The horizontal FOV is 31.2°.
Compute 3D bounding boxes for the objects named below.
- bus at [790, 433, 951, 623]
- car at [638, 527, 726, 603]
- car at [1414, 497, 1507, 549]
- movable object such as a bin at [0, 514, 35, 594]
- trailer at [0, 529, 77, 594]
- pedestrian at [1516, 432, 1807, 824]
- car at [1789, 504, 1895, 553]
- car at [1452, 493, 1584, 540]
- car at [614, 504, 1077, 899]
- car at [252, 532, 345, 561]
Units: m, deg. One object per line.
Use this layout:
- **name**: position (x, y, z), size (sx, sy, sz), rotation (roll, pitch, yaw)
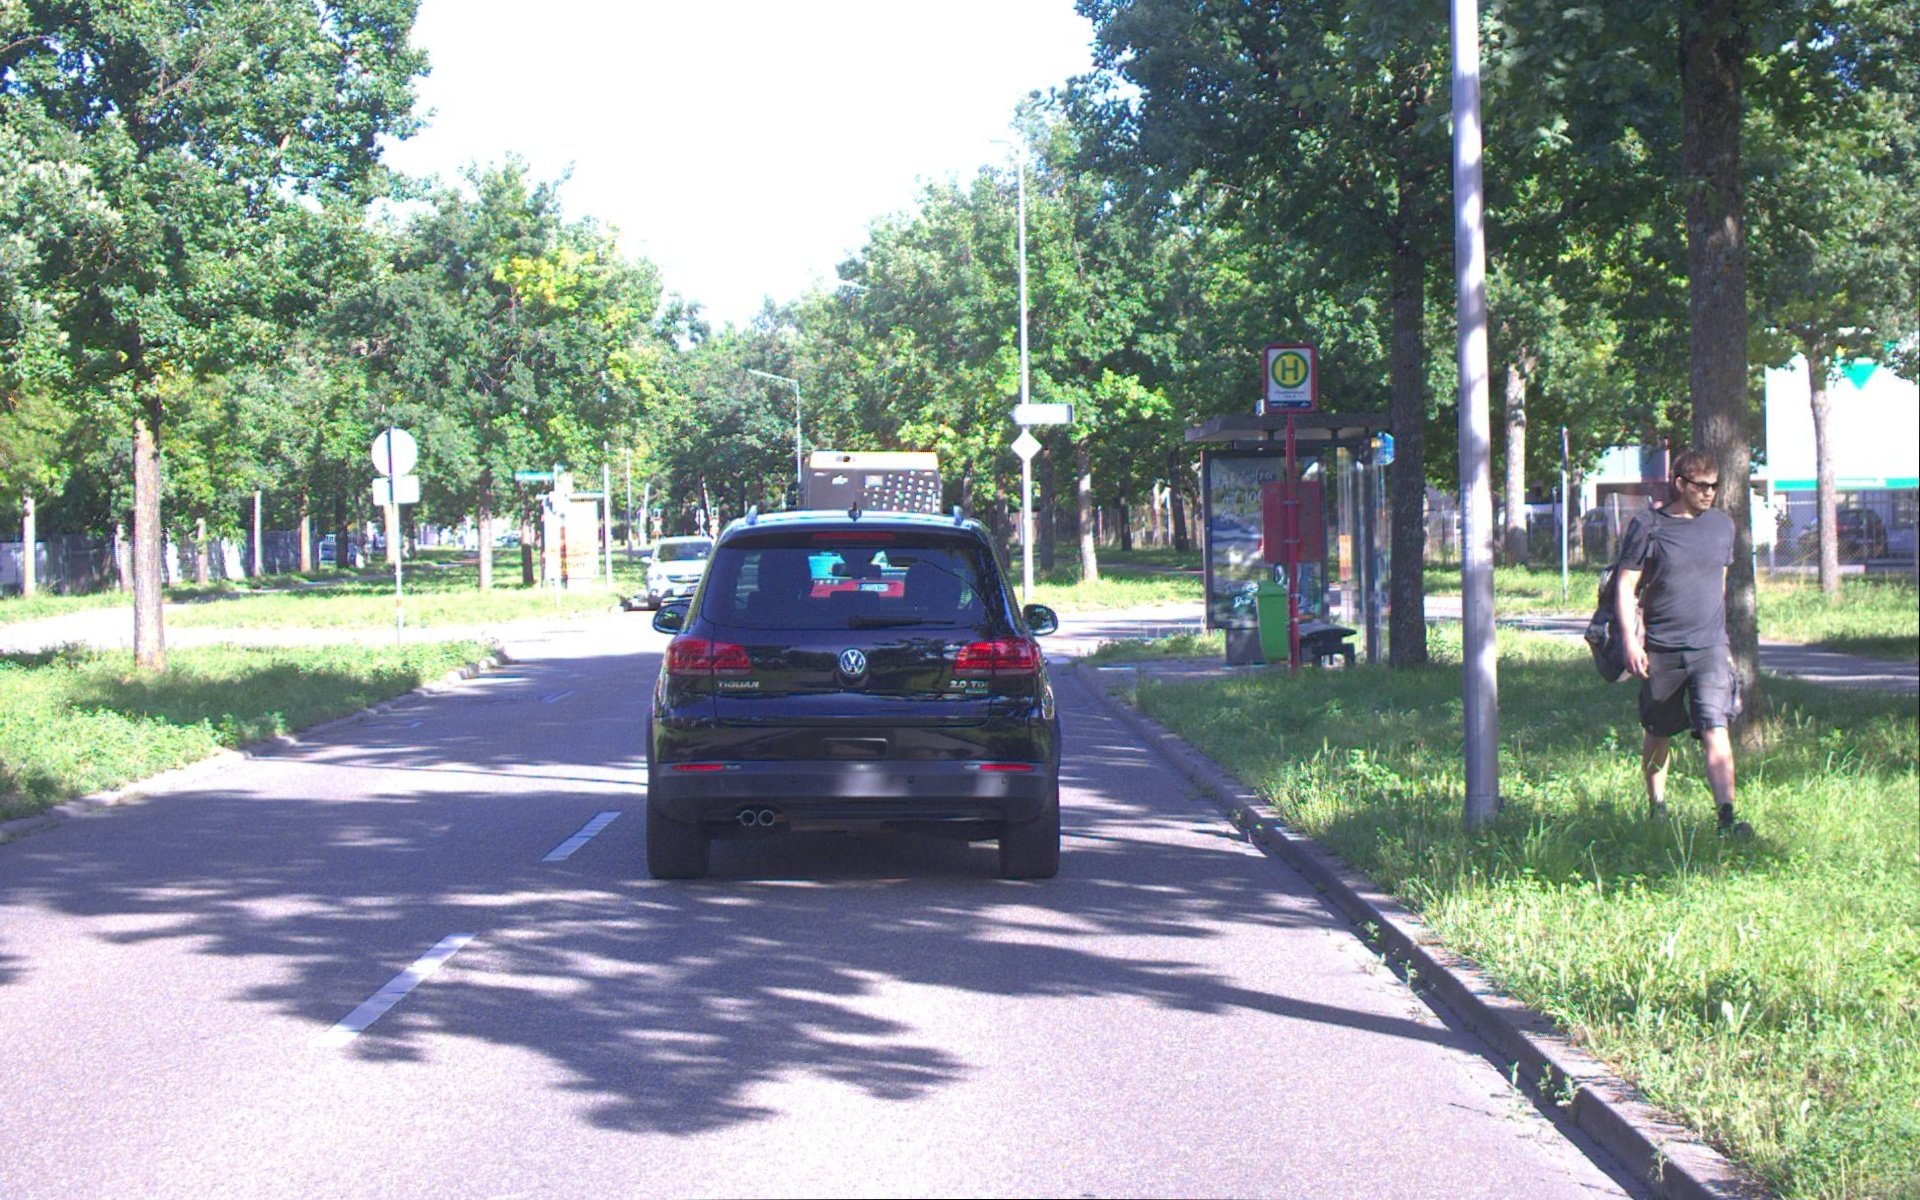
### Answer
- **bus**: position (-1.925, -1.467, 69.123), size (2.764, 3.444, 11.213), rotation (-1, 1, -4)
- **car**: position (-5.844, -0.761, 72.173), size (1.744, 1.460, 4.428), rotation (-2, 2, -5)
- **car**: position (17.671, -2.727, 121.633), size (2.184, 1.738, 4.643), rotation (-1, 1, -5)
- **movable object such as a bin**: position (-27.757, -1.297, 97.210), size (2.102, 2.209, 4.461), rotation (-1, 1, -2)
- **trailer**: position (-28.280, -1.177, 104.336), size (2.102, 1.908, 3.741), rotation (-1, 1, -2)
- **pedestrian**: position (3.081, 0.109, 15.201), size (1.019, 1.646, 1.100), rotation (-1, 1, -1)
- **car**: position (25.716, -2.093, 100.340), size (1.764, 1.379, 3.769), rotation (-1, 1, -6)
- **car**: position (21.950, -3.274, 135.347), size (4.625, 1.738, 2.192), rotation (-1, 1, -10)
- **car**: position (-0.504, 0.364, 16.645), size (1.936, 1.650, 4.427), rotation (0, 2, -1)
- **car**: position (-32.958, -2.657, 171.249), size (4.198, 1.316, 1.941), rotation (-1, 1, 1)
